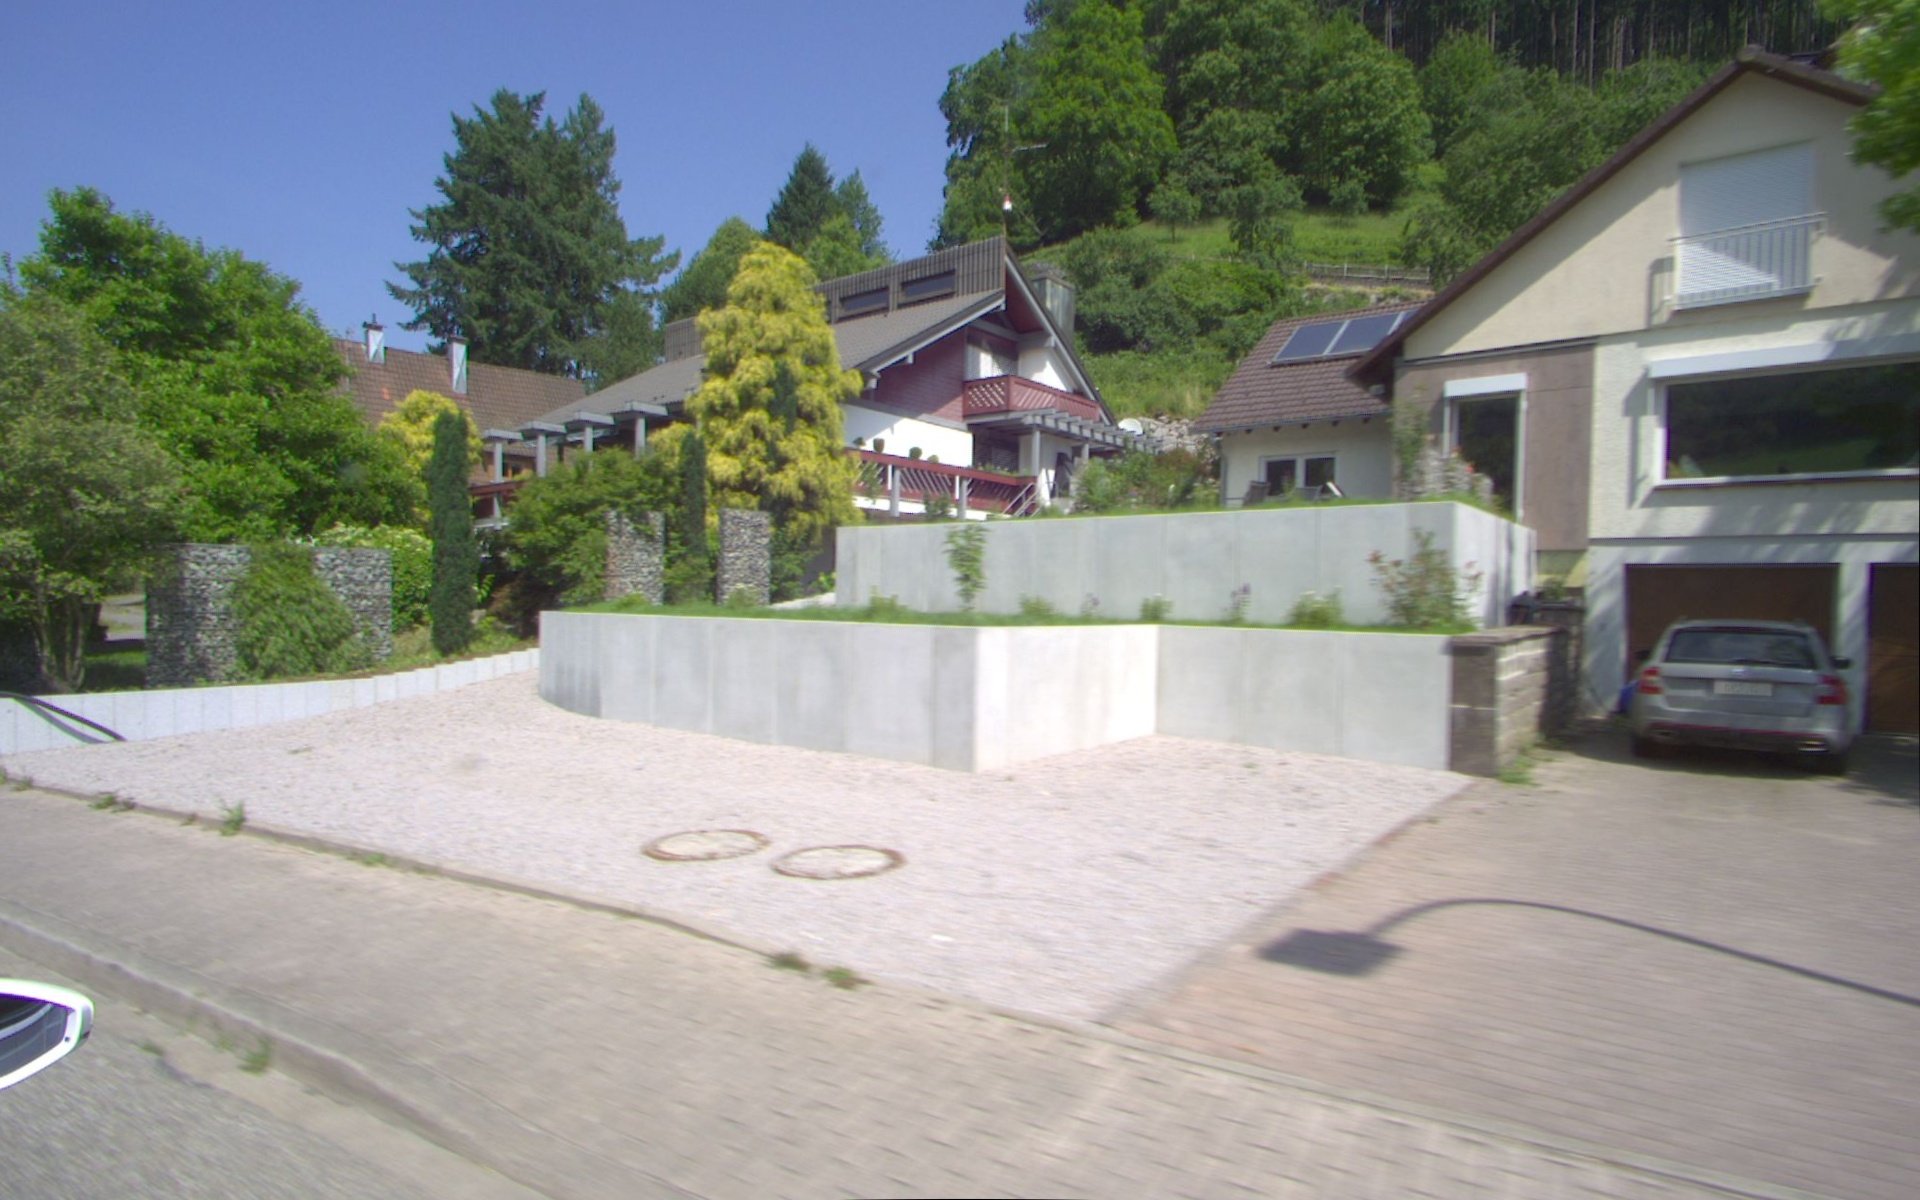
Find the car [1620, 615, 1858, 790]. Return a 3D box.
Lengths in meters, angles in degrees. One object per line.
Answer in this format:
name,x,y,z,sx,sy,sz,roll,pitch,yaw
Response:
car,8.189,0.926,10.553,1.702,1.489,3.719,-1,-2,39
